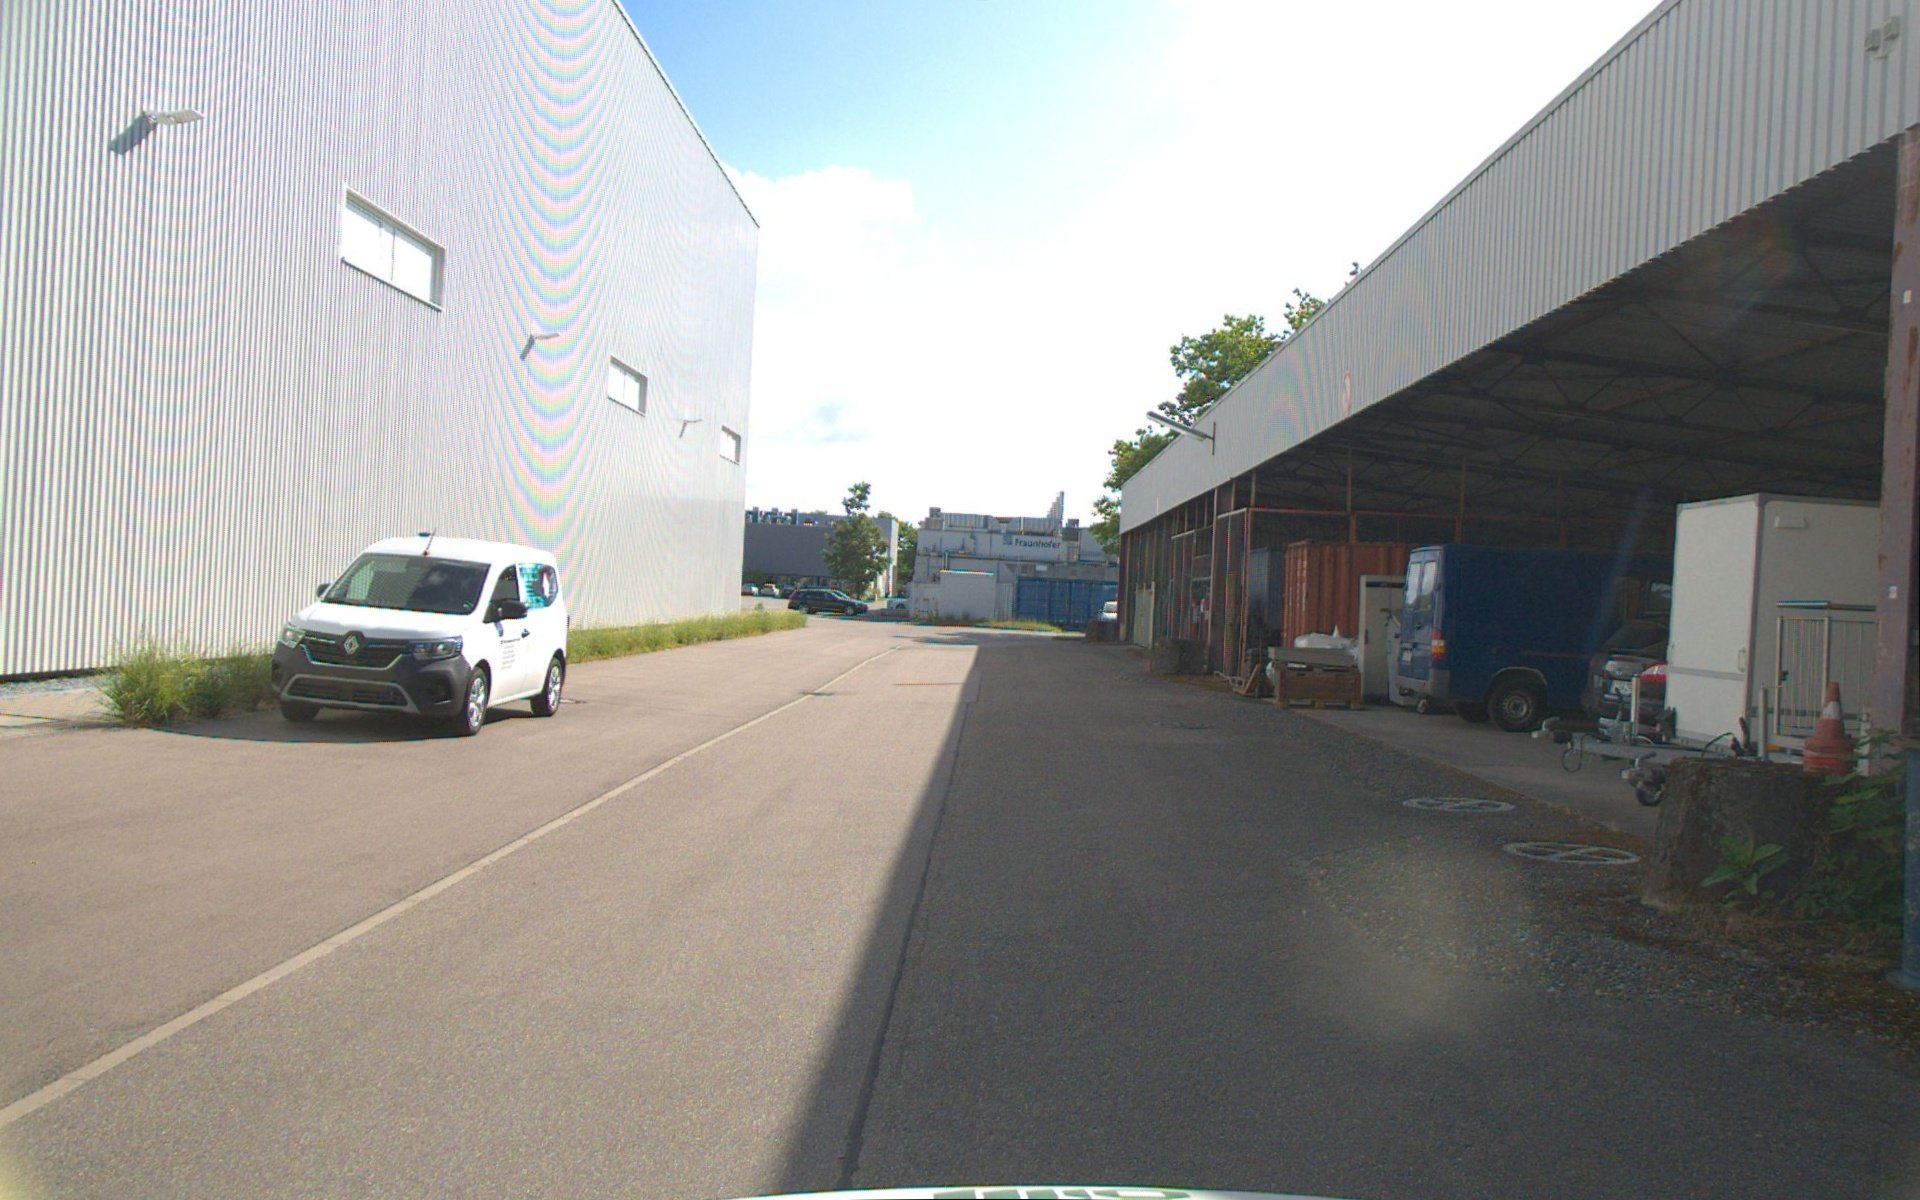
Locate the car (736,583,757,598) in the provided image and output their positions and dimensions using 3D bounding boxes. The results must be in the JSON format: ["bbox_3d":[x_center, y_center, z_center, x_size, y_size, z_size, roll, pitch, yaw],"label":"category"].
[{"bbox_3d":[-25.226,-1.131,195.797,1.952,1.766,4.000,1,0,0],"label":"car"}]

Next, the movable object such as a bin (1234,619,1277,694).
[{"bbox_3d":[4.885,0.918,27.359,0.569,1.185,1.239,2,0,5],"label":"movable object such as a bin"}]

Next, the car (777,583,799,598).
[{"bbox_3d":[-20.211,-1.119,194.372,2.148,1.766,4.000,1,0,0],"label":"car"}]

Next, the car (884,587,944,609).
[{"bbox_3d":[-3.478,-0.156,126.342,4.432,1.534,1.909,2,0,2],"label":"car"}]

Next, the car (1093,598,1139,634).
[{"bbox_3d":[8.053,0.799,85.845,1.953,1.613,4.173,2,2,0],"label":"car"}]

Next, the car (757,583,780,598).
[{"bbox_3d":[-22.687,-1.120,196.112,2.148,1.766,4.000,1,0,0],"label":"car"}]

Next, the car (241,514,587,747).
[{"bbox_3d":[-5.241,0.256,16.563,1.852,1.877,4.359,5,0,0],"label":"car"}]

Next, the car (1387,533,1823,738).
[{"bbox_3d":[8.302,0.435,21.641,4.876,2.366,2.000,2,0,1],"label":"car"}]

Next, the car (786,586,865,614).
[{"bbox_3d":[-8.018,-0.019,98.791,4.432,1.534,1.909,2,0,3],"label":"car"}]

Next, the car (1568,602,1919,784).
[{"bbox_3d":[8.177,0.852,15.547,4.241,1.522,1.777,2,0,-2],"label":"car"}]

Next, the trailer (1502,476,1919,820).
[{"bbox_3d":[6.888,0.375,12.919,4.711,2.433,1.828,2,0,6],"label":"trailer"}]

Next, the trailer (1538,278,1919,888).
[{"bbox_3d":[9.064,0.041,10.352,9.831,3.272,2.854,2,0,1],"label":"trailer"}]

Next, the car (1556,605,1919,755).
[{"bbox_3d":[9.026,0.881,18.667,3.908,1.498,1.787,2,0,-4],"label":"car"}]
